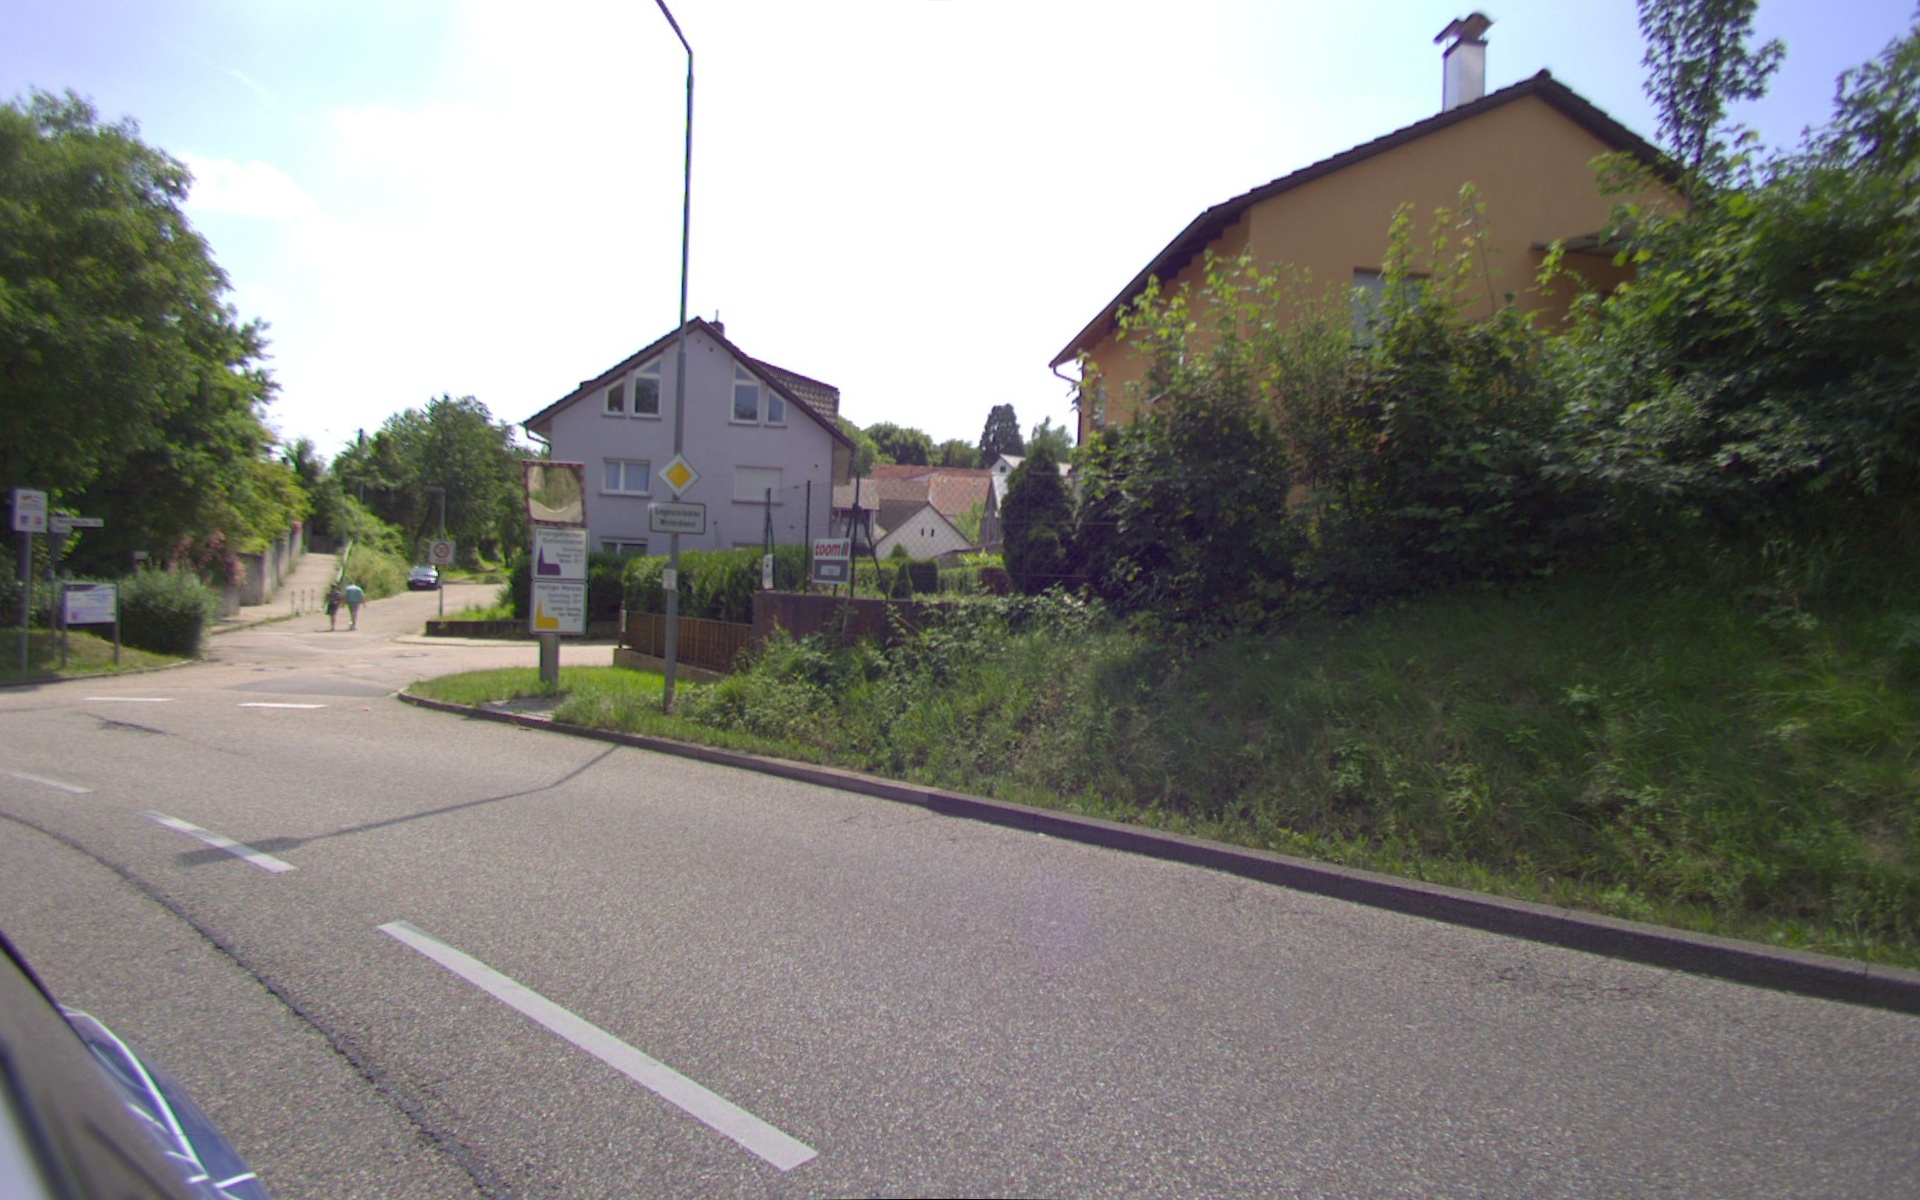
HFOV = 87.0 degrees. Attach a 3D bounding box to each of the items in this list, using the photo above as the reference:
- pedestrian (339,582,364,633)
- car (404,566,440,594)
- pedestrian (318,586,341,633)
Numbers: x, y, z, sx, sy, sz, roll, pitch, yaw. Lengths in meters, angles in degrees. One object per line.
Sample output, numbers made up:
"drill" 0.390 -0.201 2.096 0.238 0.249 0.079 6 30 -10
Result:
"pedestrian" -21.097 0.239 35.087 0.676 1.725 0.792 -2 2 -29
"car" -34.495 -1.263 64.954 1.824 1.655 4.407 -2 1 -25
"pedestrian" -21.457 0.322 34.438 0.564 1.566 0.601 -2 2 -29
